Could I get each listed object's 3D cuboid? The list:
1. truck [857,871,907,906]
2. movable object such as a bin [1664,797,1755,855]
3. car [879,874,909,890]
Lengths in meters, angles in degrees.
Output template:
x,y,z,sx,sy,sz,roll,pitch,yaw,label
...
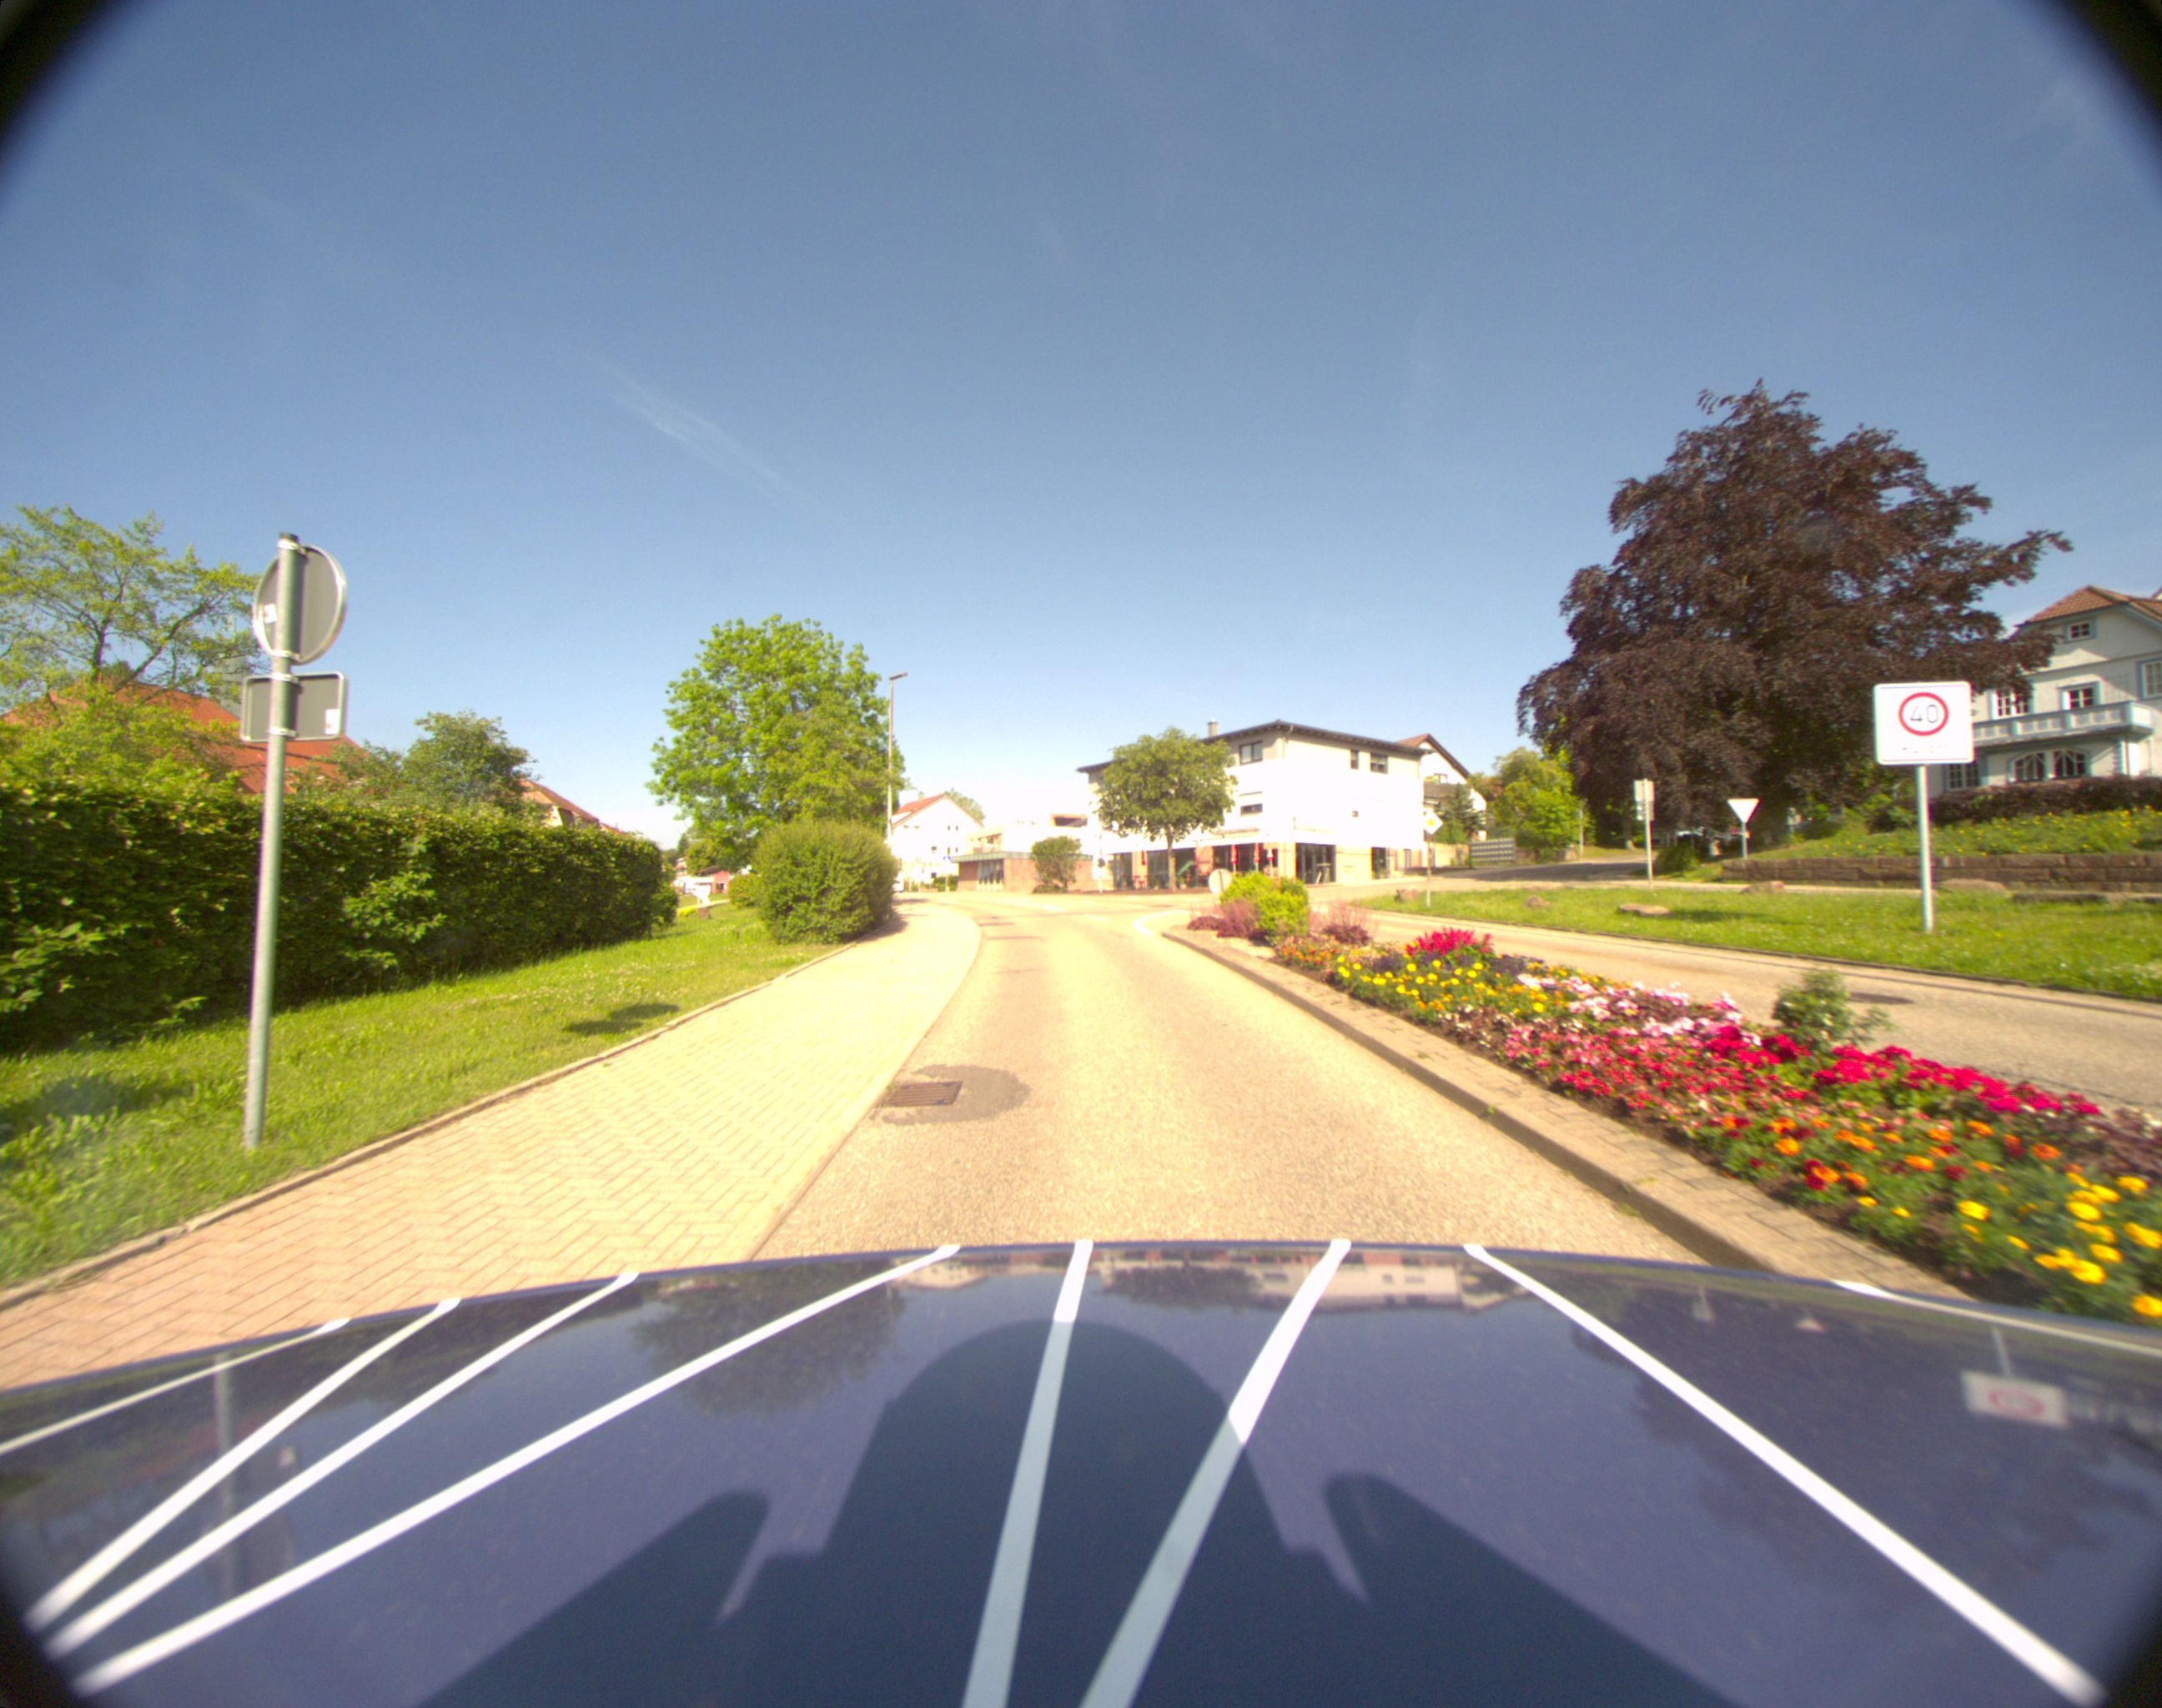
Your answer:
x,y,z,sx,sy,sz,roll,pitch,yaw,label
-14.933,2.634,56.696,2.002,2.327,6.483,-4,-2,-28,truck
33.303,-1.496,40.218,5.112,2.753,1.996,-3,0,-30,movable object such as a bin
-20.035,3.012,81.365,1.779,1.459,3.705,-4,0,-36,car
